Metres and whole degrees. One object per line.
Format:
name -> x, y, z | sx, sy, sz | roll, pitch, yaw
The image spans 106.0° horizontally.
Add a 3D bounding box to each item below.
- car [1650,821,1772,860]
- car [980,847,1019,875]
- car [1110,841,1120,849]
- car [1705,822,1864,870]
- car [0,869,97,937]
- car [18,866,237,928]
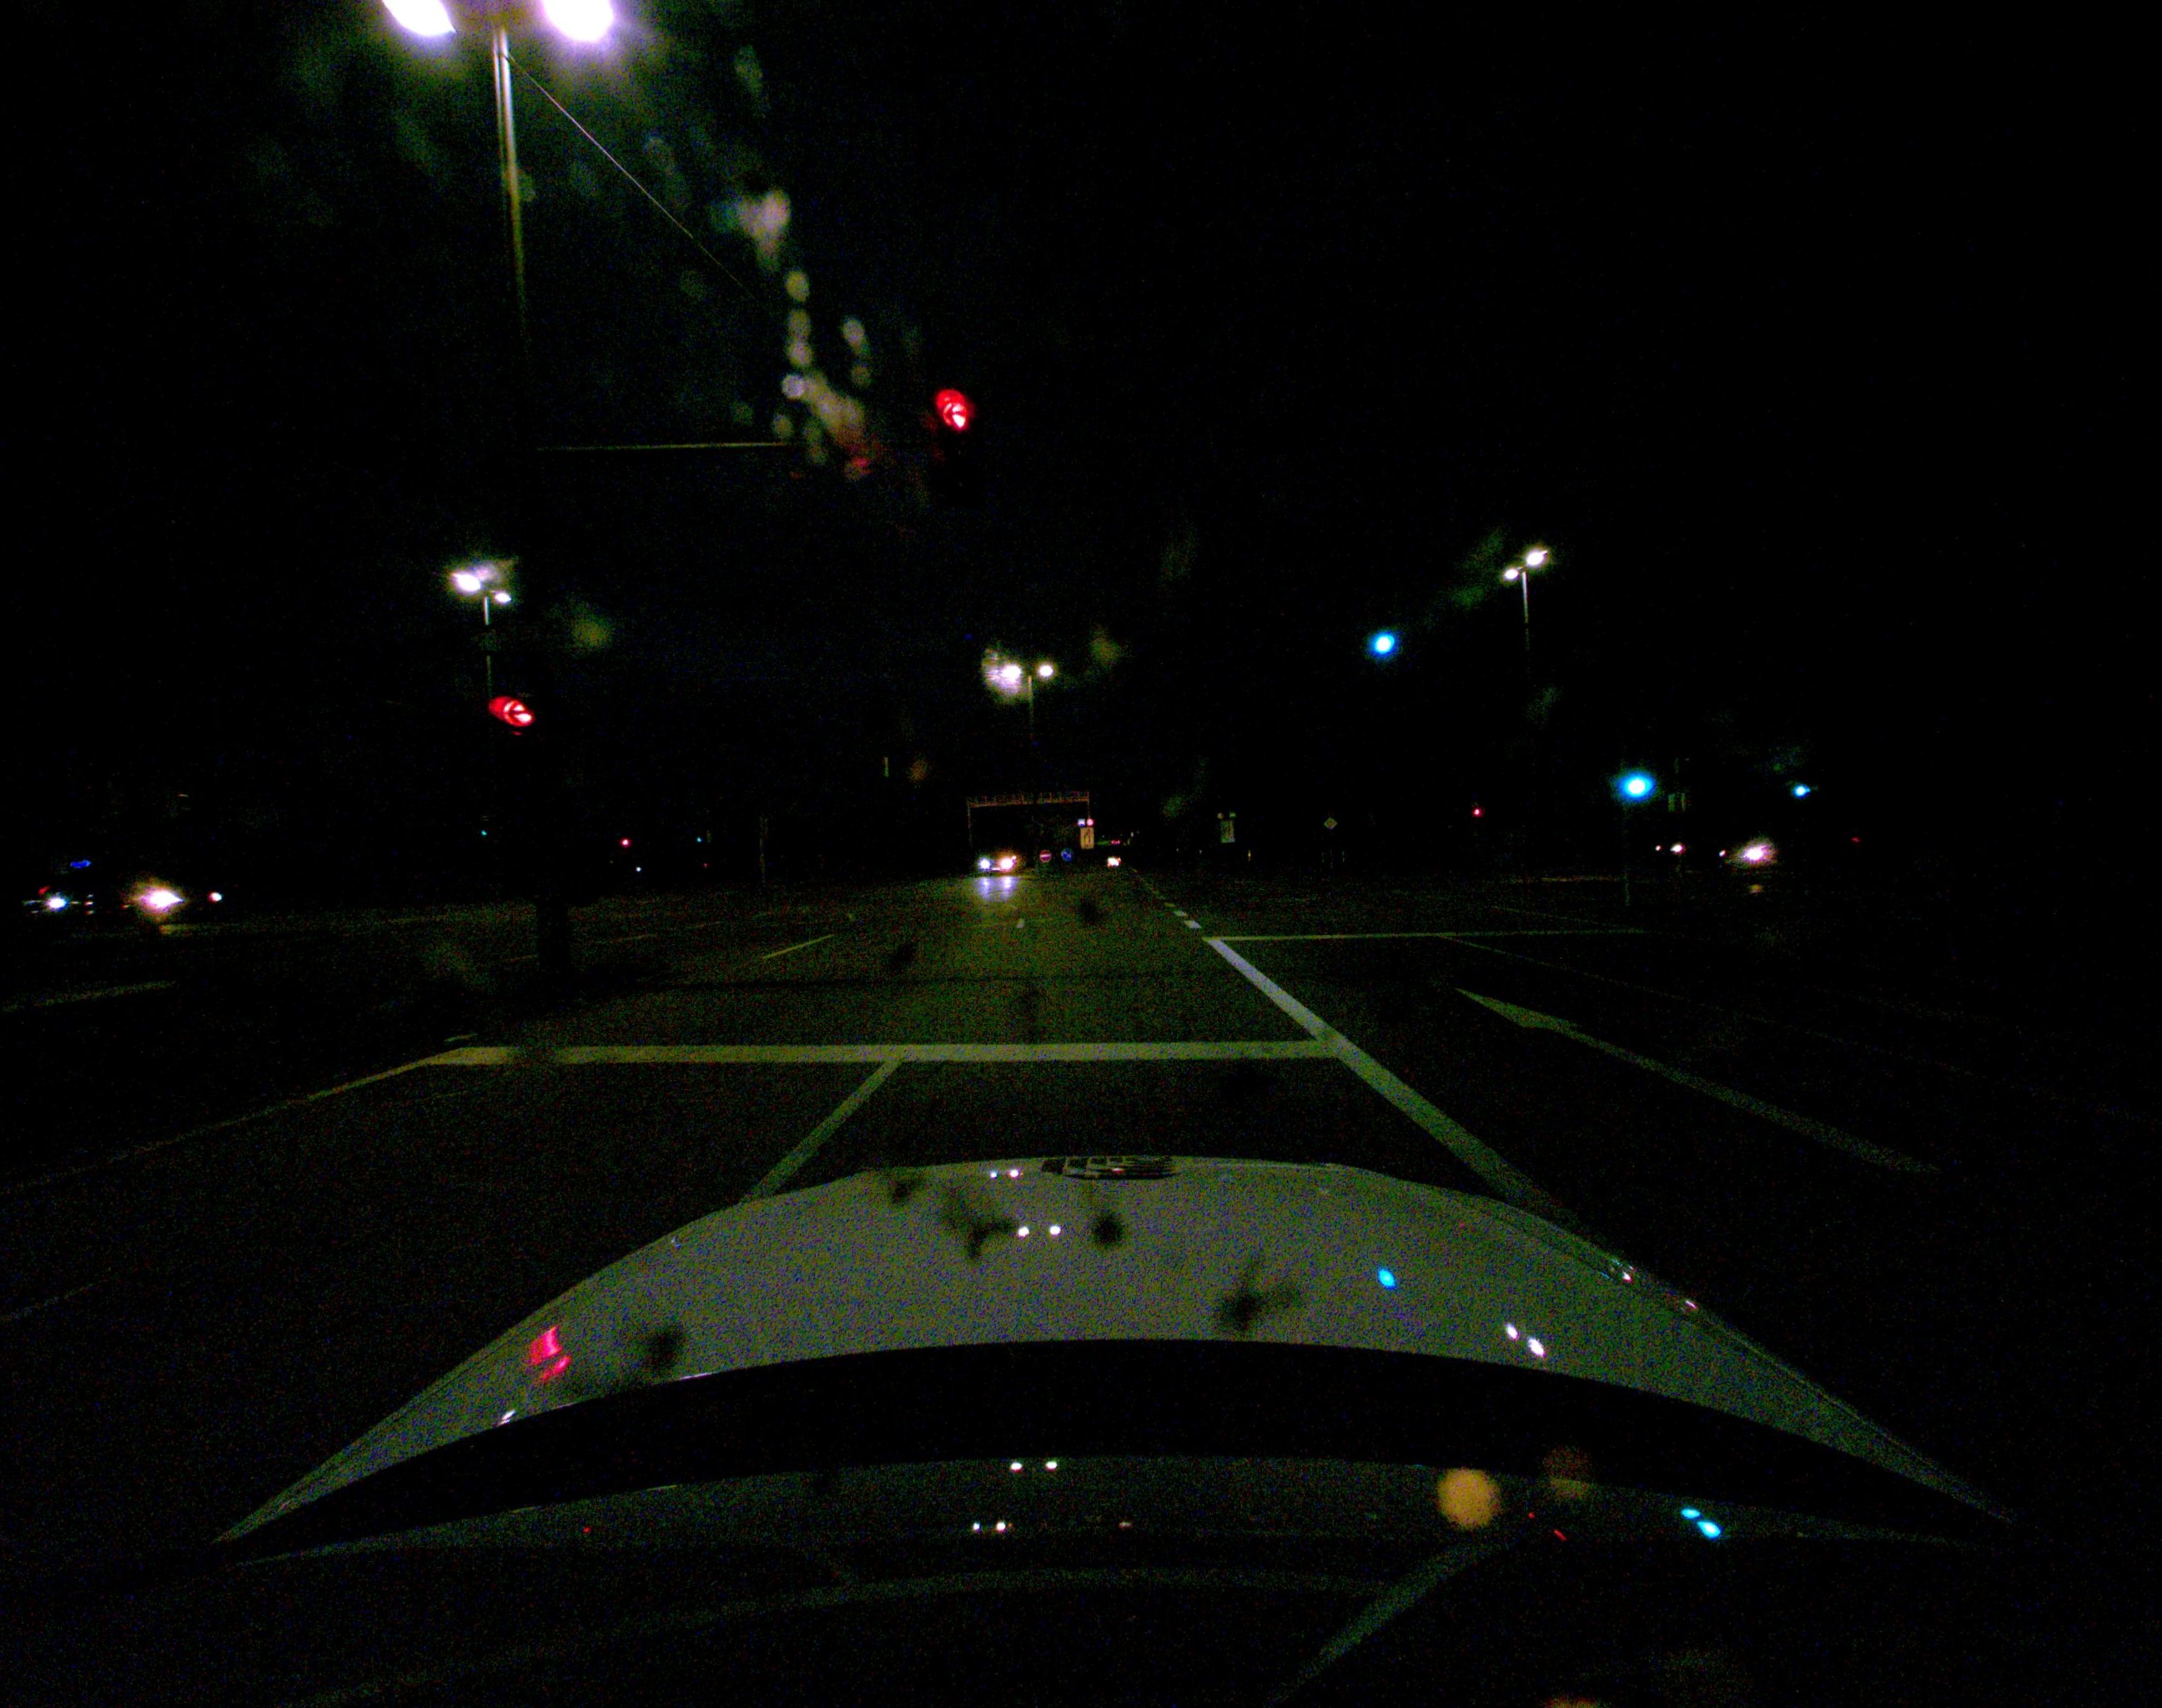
car -> 27.839, -0.592, 36.096 | 3.976, 1.569, 1.899 | -2, 1, -2
car -> -5.198, 0.419, 52.465 | 1.987, 1.698, 4.000 | -1, 0, 1
car -> 7.303, -1.965, 173.811 | 1.999, 1.611, 3.849 | -2, 0, 4
car -> 25.261, -0.288, 29.346 | 4.062, 1.569, 2.001 | -2, 0, -2
car -> -27.209, 1.233, 19.845 | 4.299, 1.537, 1.729 | -2, 0, 0
car -> -26.982, 1.188, 23.141 | 4.029, 1.537, 1.728 | -2, 0, -2
